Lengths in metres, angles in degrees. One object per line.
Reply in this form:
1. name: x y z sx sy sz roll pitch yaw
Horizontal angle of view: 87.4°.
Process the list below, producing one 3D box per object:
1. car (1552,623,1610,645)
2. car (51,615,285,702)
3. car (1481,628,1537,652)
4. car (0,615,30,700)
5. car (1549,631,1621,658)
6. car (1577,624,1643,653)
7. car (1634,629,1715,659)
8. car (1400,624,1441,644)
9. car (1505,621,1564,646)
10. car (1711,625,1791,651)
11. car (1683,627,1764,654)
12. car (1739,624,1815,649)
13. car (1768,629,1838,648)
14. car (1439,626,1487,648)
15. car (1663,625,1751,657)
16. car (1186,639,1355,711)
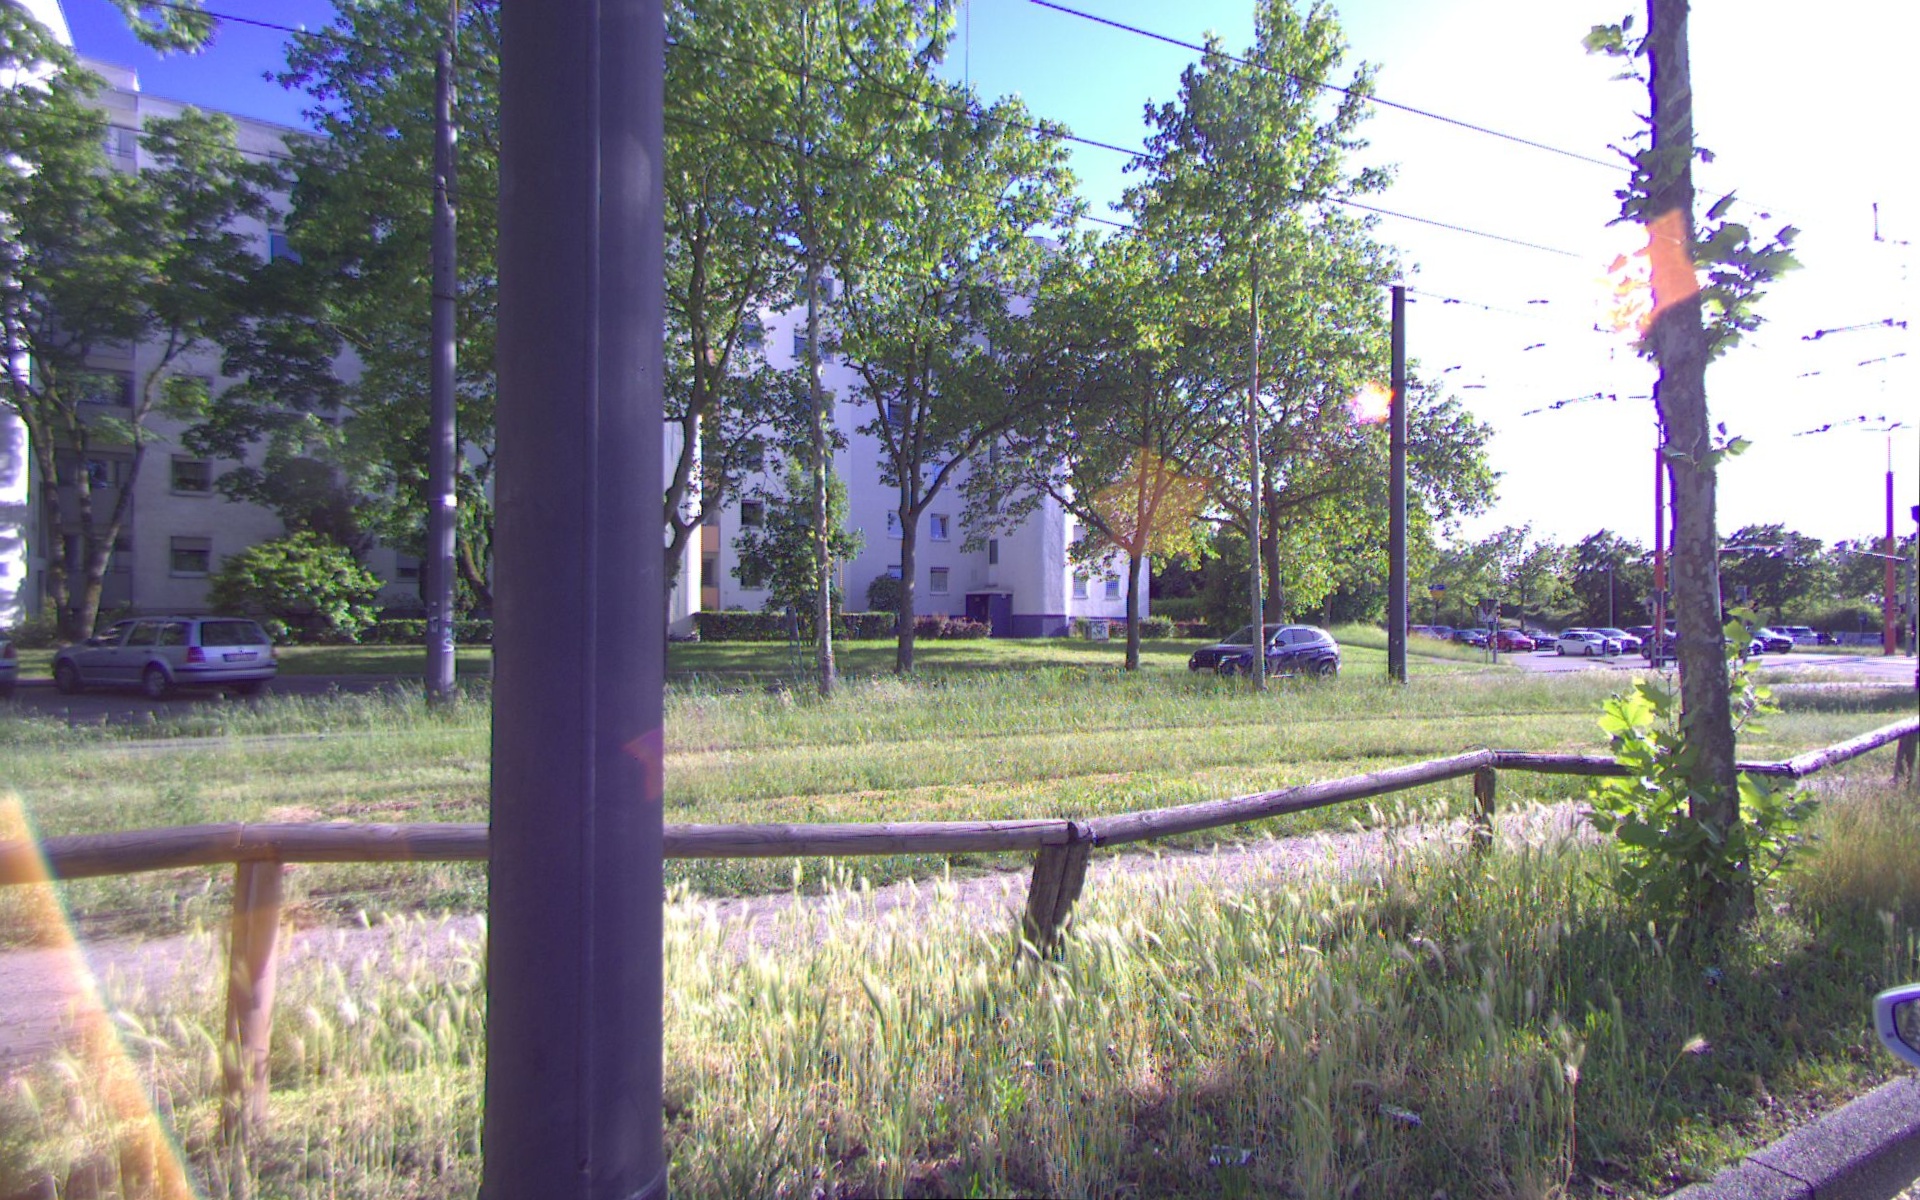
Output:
1. car: 45.309 2.457 73.335 1.513 1.434 4.154 1 -1 -3
2. car: -14.530 1.011 18.436 3.830 1.421 1.581 1 0 20
3. car: 38.454 2.776 70.457 1.624 1.540 4.200 1 -1 1
4. car: -17.980 0.948 17.162 3.567 1.421 1.581 1 0 20
5. car: 38.924 2.754 62.690 1.624 1.540 4.638 1 -1 1
6. car: 42.222 2.477 65.329 1.623 1.714 4.343 1 -1 2
7. car: 39.012 2.393 54.952 1.624 1.460 3.841 1 -1 -2
8. car: 38.650 2.815 84.399 1.624 1.540 4.200 1 -1 1
9. car: 42.276 2.431 74.076 1.721 1.669 4.644 1 -1 1
10. car: 48.659 2.322 61.901 1.513 1.434 4.154 1 -1 -3
11. car: 45.581 2.392 60.068 1.513 1.434 4.154 1 -1 -3
12. car: 59.427 2.628 73.165 1.625 1.647 4.673 1 -1 -3
13. car: 67.390 3.046 80.351 1.629 1.421 4.119 1 -1 -15
14. car: 38.667 2.815 77.260 1.624 1.540 4.200 1 -1 1
15. car: 42.470 2.308 57.239 1.624 1.669 4.644 1 -1 1
16. car: 7.852 1.822 25.301 4.243 1.640 1.644 1 -1 -30
